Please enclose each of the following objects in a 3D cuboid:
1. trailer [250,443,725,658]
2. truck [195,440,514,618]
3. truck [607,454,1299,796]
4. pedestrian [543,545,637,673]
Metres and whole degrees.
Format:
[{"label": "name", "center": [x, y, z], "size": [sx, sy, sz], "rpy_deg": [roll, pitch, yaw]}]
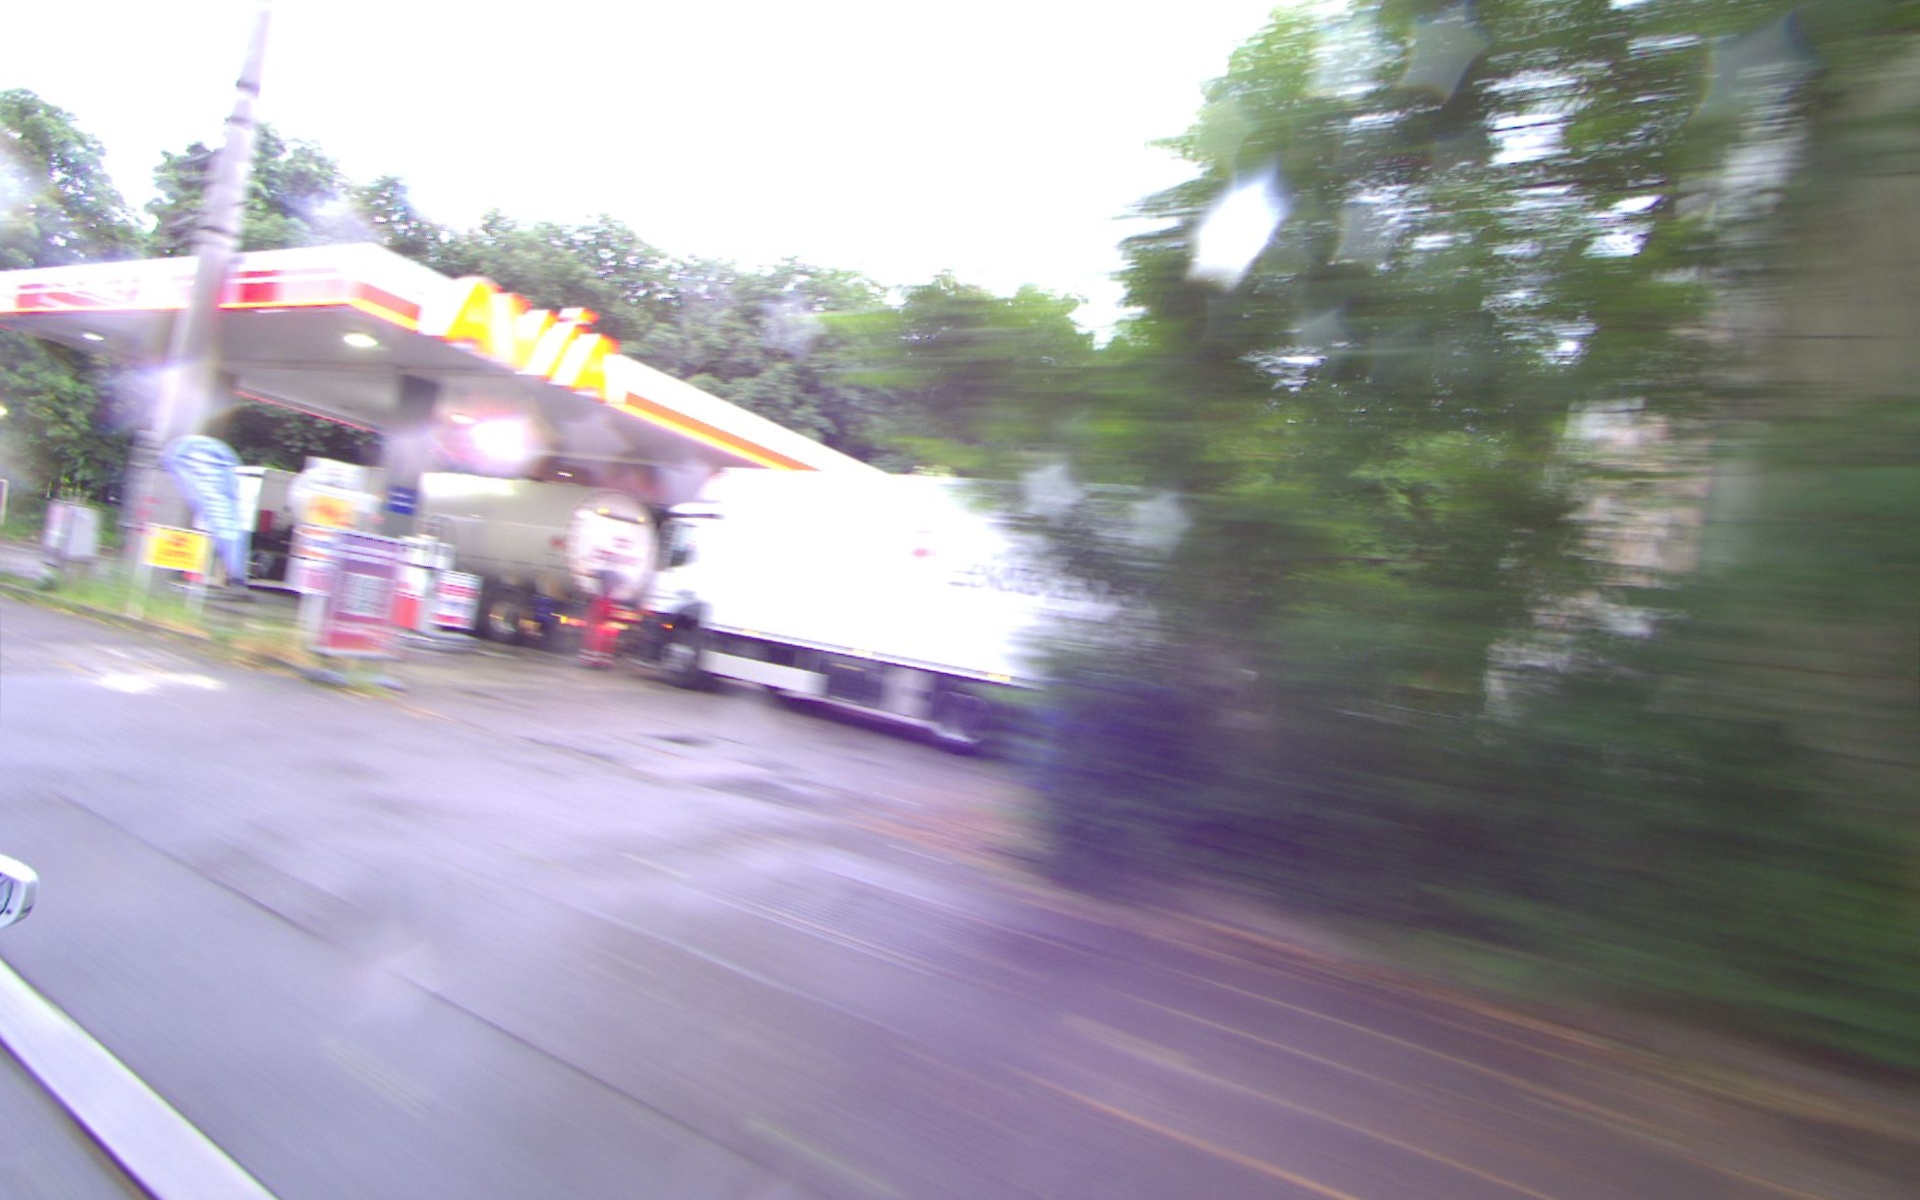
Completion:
[{"label": "trailer", "center": [-11.378, -1.290, 23.617], "size": [11.586, 3.547, 3.906], "rpy_deg": [7, -1, 30]}, {"label": "truck", "center": [-15.739, -1.833, 26.162], "size": [6.859, 3.558, 3.912], "rpy_deg": [7, -1, 29]}, {"label": "truck", "center": [-0.579, 0.047, 15.862], "size": [10.211, 3.721, 3.931], "rpy_deg": [7, -1, 36]}, {"label": "pedestrian", "center": [-6.405, 0.156, 17.408], "size": [1.167, 2.037, 0.863], "rpy_deg": [8, 0, -29]}]
